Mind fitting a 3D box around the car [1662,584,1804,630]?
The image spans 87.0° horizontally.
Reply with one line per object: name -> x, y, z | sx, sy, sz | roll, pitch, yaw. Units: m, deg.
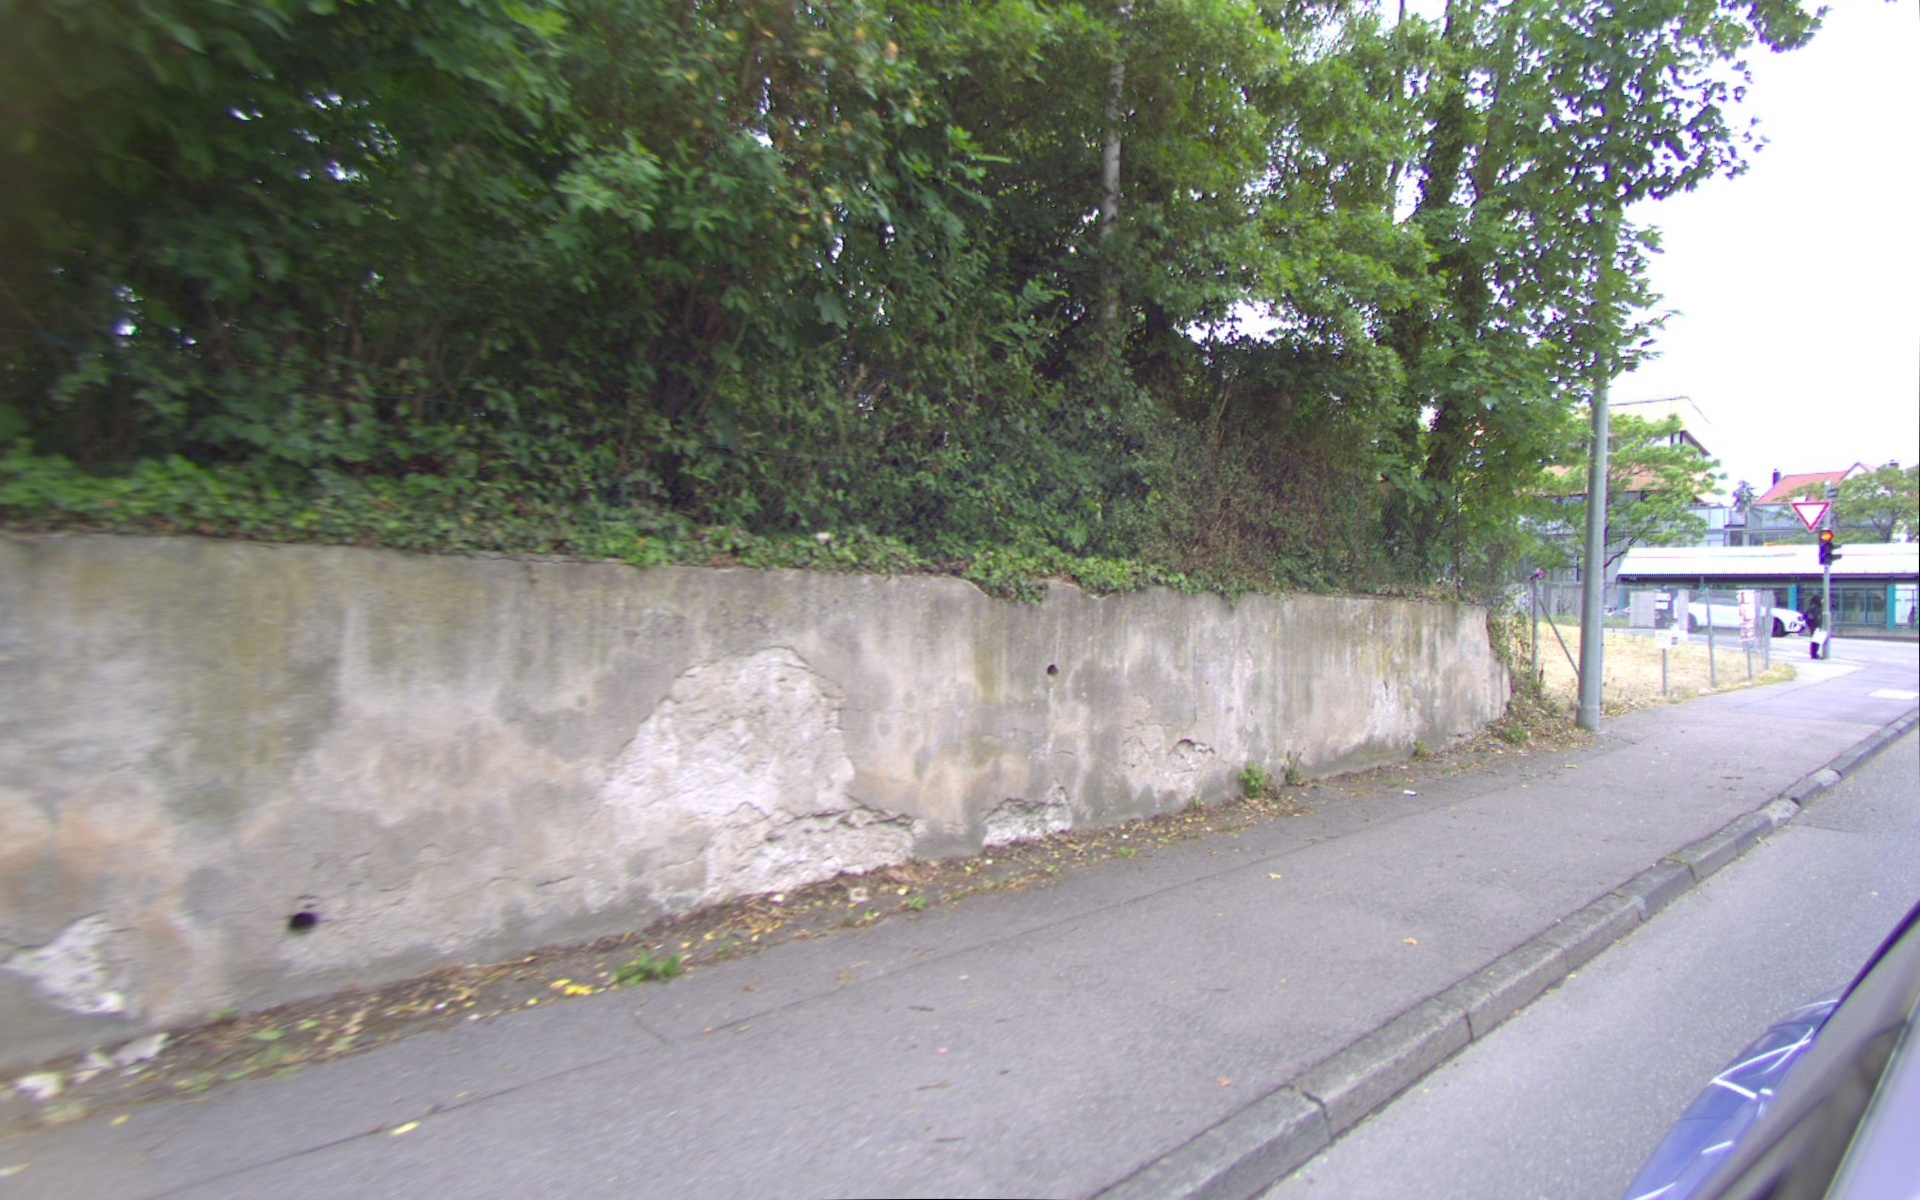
car -> 28.700, 0.221, 37.646 | 3.988, 1.530, 1.968 | 2, 1, 45

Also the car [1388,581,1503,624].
car -> 20.596, 0.057, 43.019 | 3.987, 1.714, 1.943 | 1, 1, 44

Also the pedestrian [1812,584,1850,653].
pedestrian -> 21.085, 0.445, 24.490 | 0.661, 1.610, 0.552 | 0, 3, -43
